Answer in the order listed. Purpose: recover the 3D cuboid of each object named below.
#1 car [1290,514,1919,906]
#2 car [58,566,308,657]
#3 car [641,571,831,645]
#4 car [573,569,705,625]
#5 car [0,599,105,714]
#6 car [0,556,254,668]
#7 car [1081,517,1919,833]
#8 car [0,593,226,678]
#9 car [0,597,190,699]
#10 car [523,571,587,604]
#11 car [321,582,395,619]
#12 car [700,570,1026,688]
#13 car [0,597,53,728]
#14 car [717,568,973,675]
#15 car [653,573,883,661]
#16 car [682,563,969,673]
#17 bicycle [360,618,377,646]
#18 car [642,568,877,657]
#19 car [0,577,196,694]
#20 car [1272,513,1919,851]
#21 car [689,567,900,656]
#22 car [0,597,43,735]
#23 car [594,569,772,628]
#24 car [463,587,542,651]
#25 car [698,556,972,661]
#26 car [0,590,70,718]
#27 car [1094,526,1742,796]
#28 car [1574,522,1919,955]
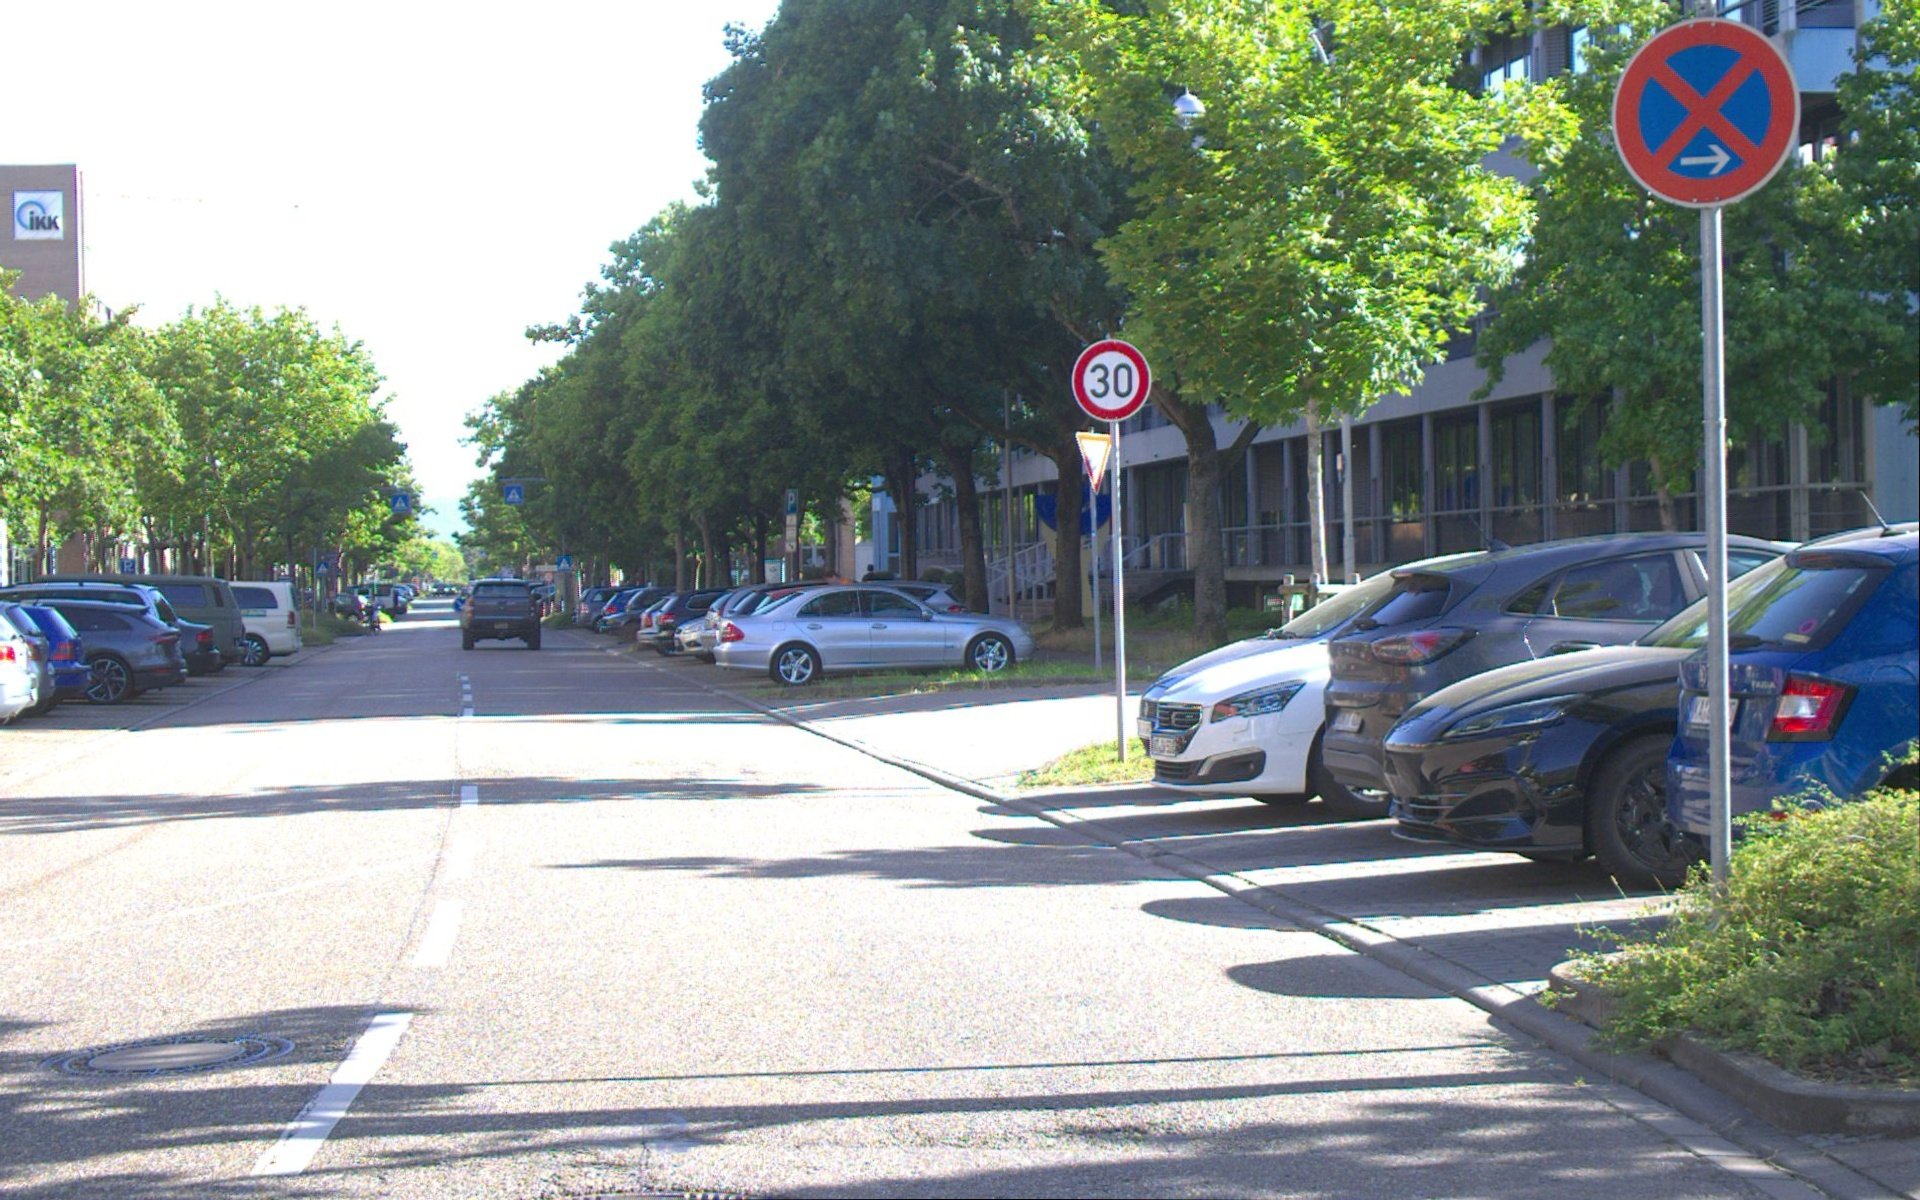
[{"bbox_3d":[4.031,0.390,15.800,4.548,1.510,2.159,-4,0,-7],"label":"car"},{"bbox_3d":[-17.140,0.243,76.058,5.256,1.960,1.943,0,0,-8],"label":"car"},{"bbox_3d":[-4.960,0.173,75.815,3.969,1.415,1.711,-3,0,-10],"label":"car"},{"bbox_3d":[-11.209,-0.113,119.908,4.350,1.698,1.813,-3,0,-11],"label":"car"},{"bbox_3d":[-12.894,0.700,43.817,3.725,1.422,1.841,0,0,-9],"label":"car"},{"bbox_3d":[-15.965,0.230,66.085,4.487,2.083,2.083,0,0,-6],"label":"car"},{"bbox_3d":[3.236,0.423,20.857,4.548,1.510,1.983,-4,0,-14],"label":"car"},{"bbox_3d":[-14.477,0.601,58.734,3.725,1.422,1.725,0,0,-14],"label":"car"},{"bbox_3d":[-13.262,0.670,48.925,4.401,1.422,1.773,0,0,-10],"label":"car"},{"bbox_3d":[-26.180,-0.788,222.171,3.986,2.007,2.000,-2,0,-10],"label":"car"},{"bbox_3d":[-34.905,0.019,199.355,3.986,2.007,2.000,-2,0,-4],"label":"car"},{"bbox_3d":[-1.459,0.412,50.722,4.577,1.470,1.747,-3,1,-7],"label":"car"},{"bbox_3d":[-12.263,0.688,38.951,3.725,1.442,1.860,0,0,-11],"label":"car"},{"bbox_3d":[-1.826,0.320,53.648,3.837,1.442,1.922,-3,0,-5],"label":"car"},{"bbox_3d":[-3.817,0.326,67.901,4.284,1.488,2.004,-3,0,-9],"label":"car"},{"bbox_3d":[-2.212,0.276,55.978,4.514,1.537,1.922,-3,0,-4],"label":"car"},{"bbox_3d":[-23.389,1.251,136.022,0.532,1.068,1.300,-2,0,-5],"label":"bicycle"},{"bbox_3d":[-4.114,0.249,70.191,4.590,1.488,1.763,-4,1,-8],"label":"car"},{"bbox_3d":[-13.803,0.512,51.517,4.320,1.711,1.962,0,0,-3],"label":"car"},{"bbox_3d":[3.798,0.383,18.344,3.875,1.510,1.751,-4,0,-7],"label":"car"},{"bbox_3d":[-3.172,0.220,65.609,3.742,1.488,1.617,-3,0,-12],"label":"car"},{"bbox_3d":[-11.758,0.679,36.637,3.725,1.442,1.876,0,0,-11],"label":"car"},{"bbox_3d":[-7.877,-0.038,97.504,4.824,1.415,2.032,-3,1,-10],"label":"car"},{"bbox_3d":[-11.975,0.488,89.803,1.993,1.634,4.001,0,0,-8],"label":"car"},{"bbox_3d":[-2.139,0.135,58.362,4.514,1.537,1.922,-3,0,-3],"label":"car"},{"bbox_3d":[-12.749,0.630,41.477,3.725,1.503,1.860,0,0,-9],"label":"car"},{"bbox_3d":[3.094,0.397,23.473,3.947,1.510,1.702,-4,0,-14],"label":"car"},{"bbox_3d":[4.500,0.358,13.120,3.805,1.443,1.745,-5,0,-6],"label":"car"}]
